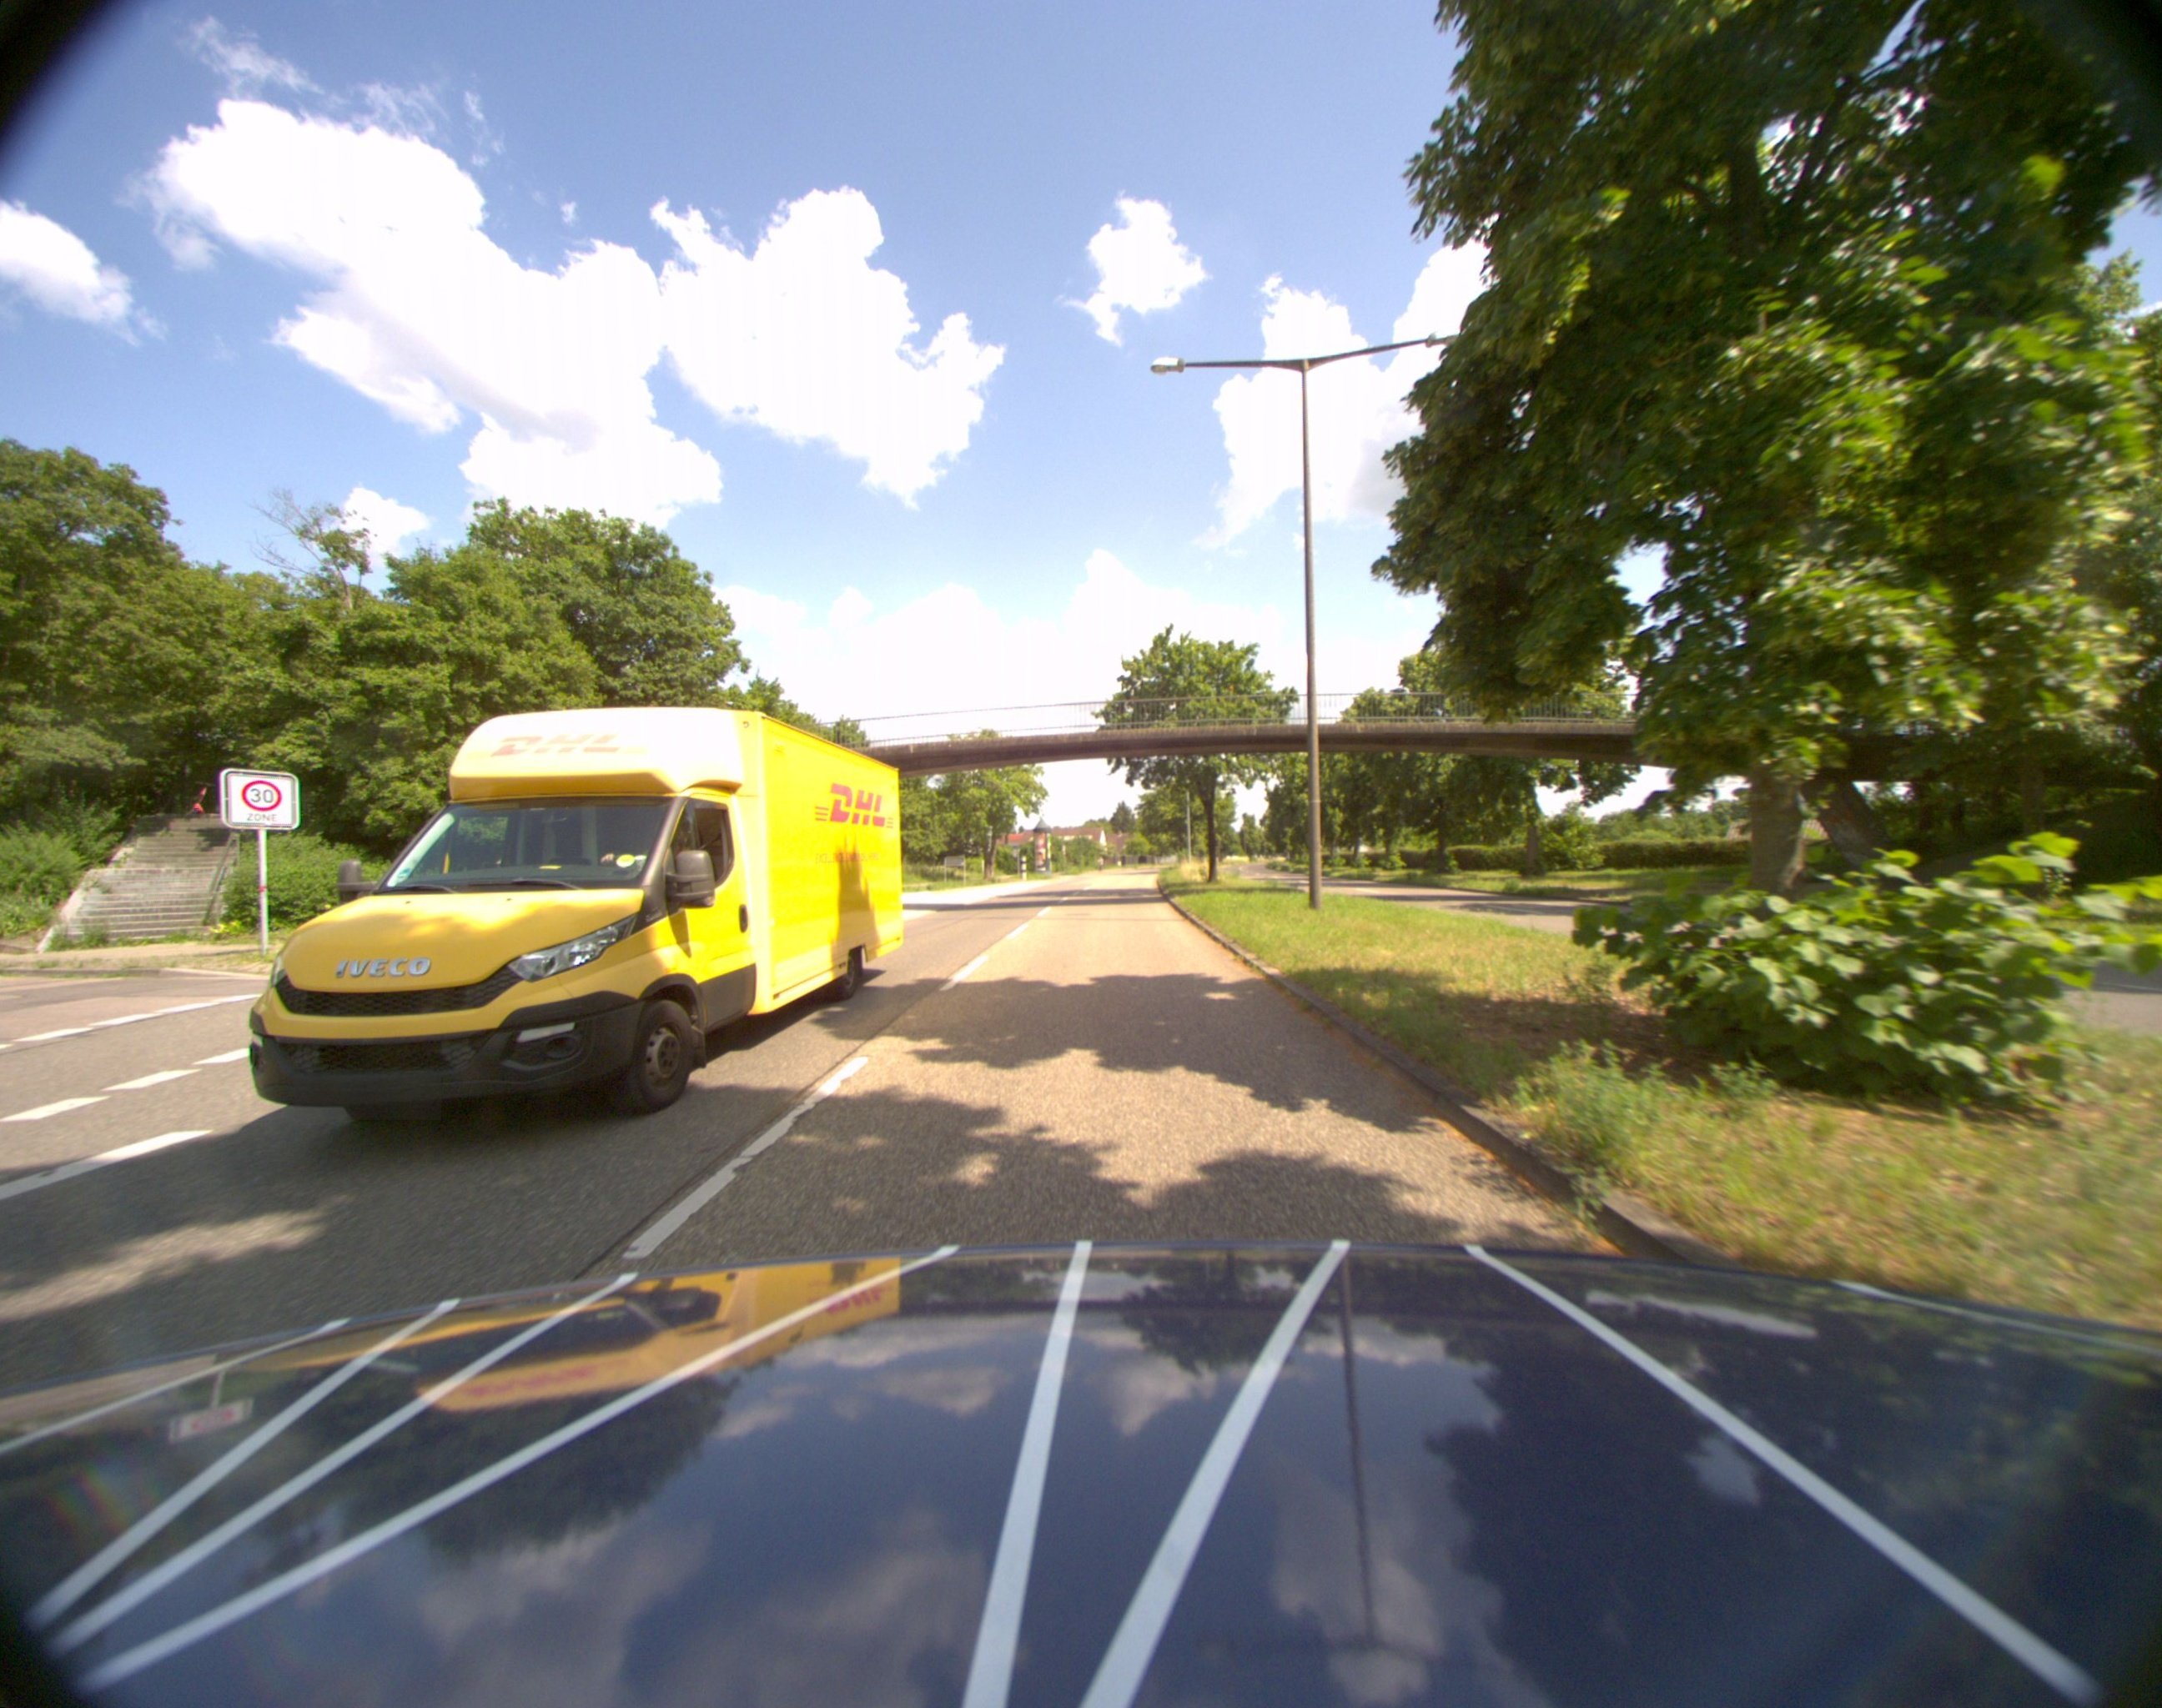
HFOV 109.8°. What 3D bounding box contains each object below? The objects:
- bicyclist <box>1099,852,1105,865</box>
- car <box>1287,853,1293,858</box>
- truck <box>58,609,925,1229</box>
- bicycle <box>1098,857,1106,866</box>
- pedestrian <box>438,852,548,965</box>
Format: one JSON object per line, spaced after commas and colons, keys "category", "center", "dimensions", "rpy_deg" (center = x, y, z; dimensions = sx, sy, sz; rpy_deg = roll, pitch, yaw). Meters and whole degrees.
{"category": "bicyclist", "center": [2.673, 0.573, 95.648], "dimensions": [0.620, 1.625, 0.701], "rpy_deg": [-1, 0, 11]}
{"category": "car", "center": [63.026, 0.472, 229.088], "dimensions": [1.738, 1.577, 4.118], "rpy_deg": [0, 0, 19]}
{"category": "truck", "center": [-3.651, 0.348, 7.650], "dimensions": [2.270, 2.863, 8.028], "rpy_deg": [-3, 0, 1]}
{"category": "bicycle", "center": [2.670, 0.979, 95.577], "dimensions": [0.626, 1.145, 1.740], "rpy_deg": [-1, 0, 12]}
{"category": "pedestrian", "center": [-10.052, 0.895, 13.043], "dimensions": [0.956, 1.814, 1.087], "rpy_deg": [0, 3, 3]}
